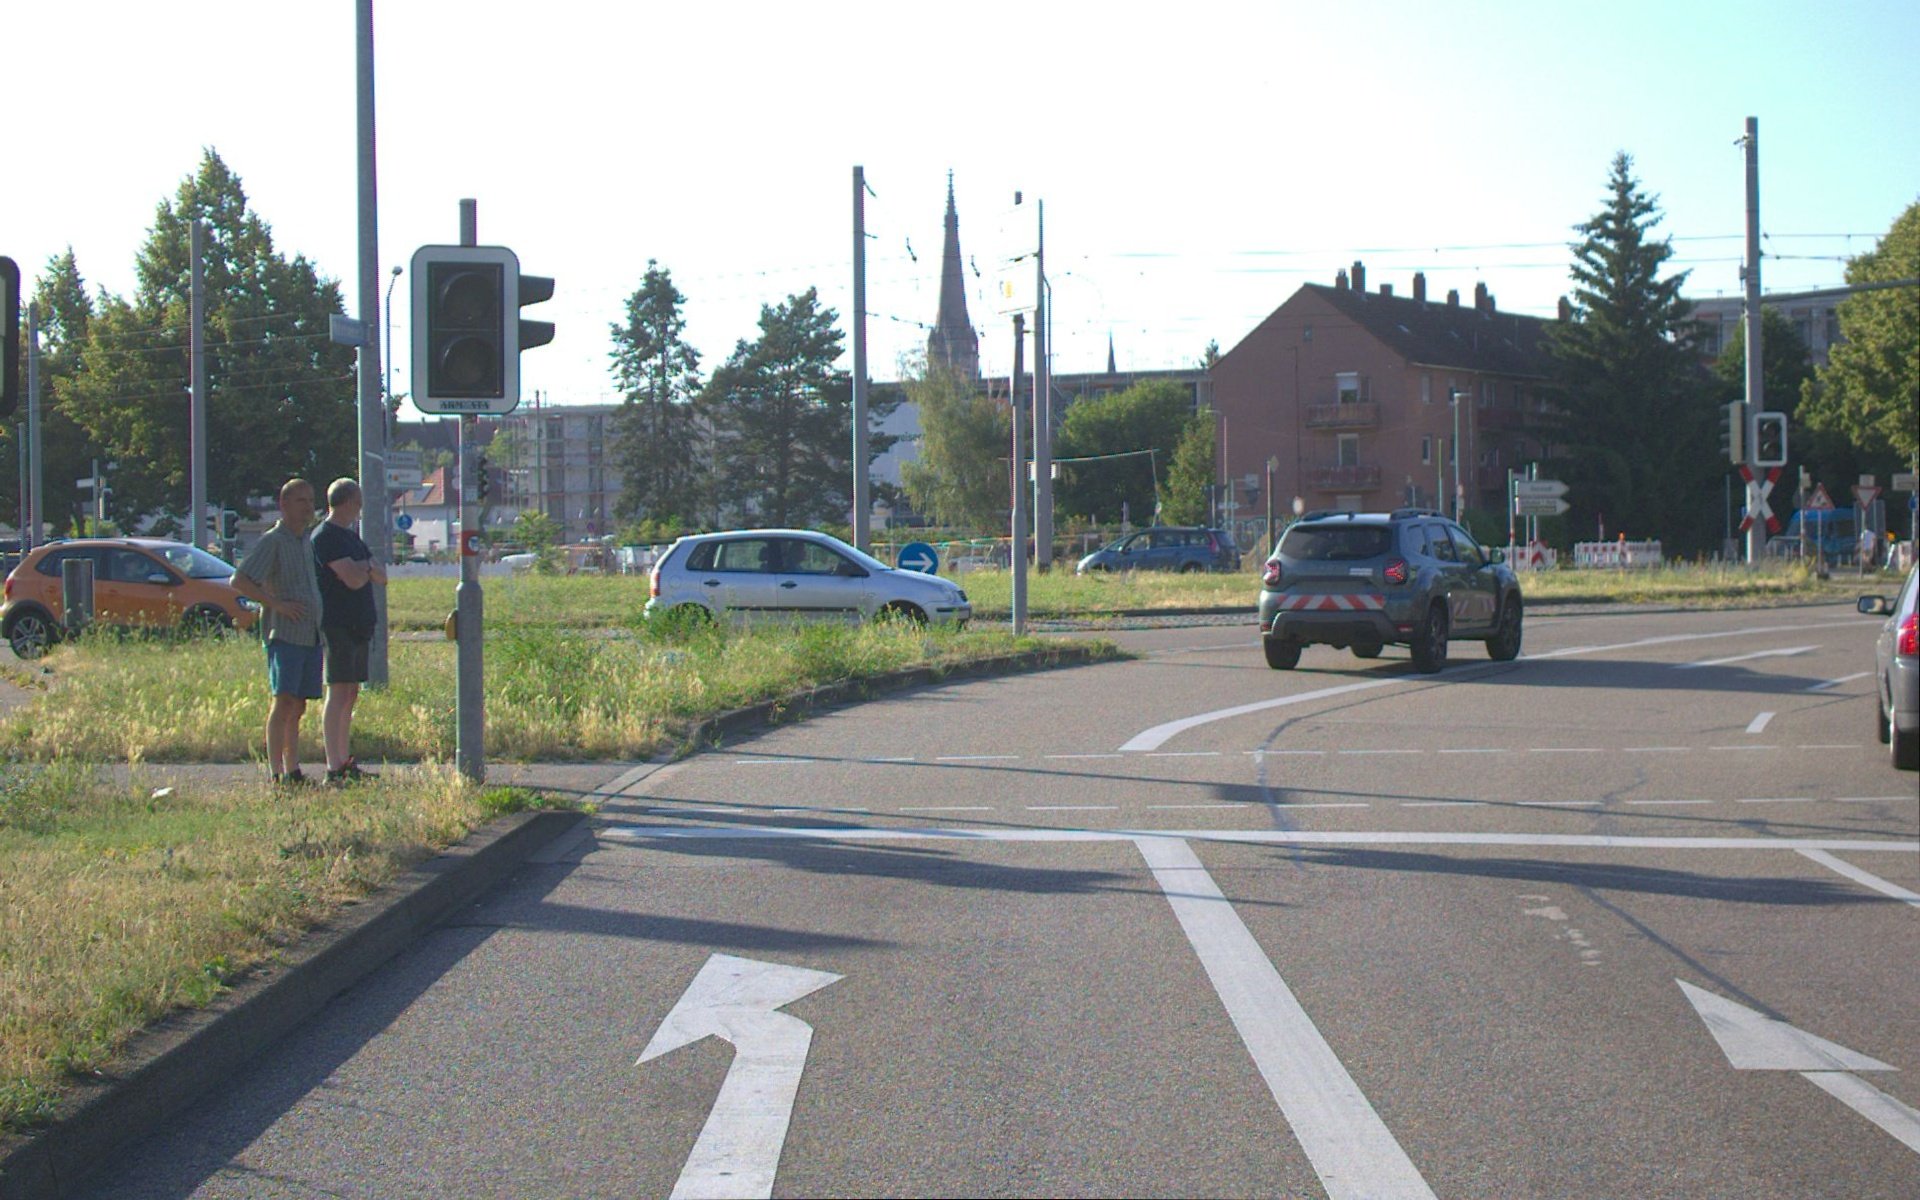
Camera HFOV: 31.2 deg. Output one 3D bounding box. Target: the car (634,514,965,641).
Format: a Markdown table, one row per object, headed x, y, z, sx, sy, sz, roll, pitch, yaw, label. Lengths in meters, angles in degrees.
| x | y | z | sx | sy | sz | roll | pitch | yaw | label |
| --- | --- | --- | --- | --- | --- | --- | --- | --- | --- |
| -1.870 | -0.274 | 40.880 | 3.747 | 1.429 | 1.836 | -1 | 1 | 4 | car |

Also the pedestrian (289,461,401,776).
| x | y | z | sx | sy | sz | roll | pitch | yaw | label |
| --- | --- | --- | --- | --- | --- | --- | --- | --- | --- |
| -3.652 | 0.102 | 20.448 | 0.486 | 1.837 | 0.672 | -1 | 1 | 3 | pedestrian |

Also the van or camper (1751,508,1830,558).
| x | y | z | sx | sy | sz | roll | pitch | yaw | label |
| --- | --- | --- | --- | --- | --- | --- | --- | --- | --- |
| 36.451 | -2.958 | 150.870 | 2.097 | 2.147 | 4.415 | 0 | 1 | 32 | van or camper |

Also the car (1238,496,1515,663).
| x | y | z | sx | sy | sz | roll | pitch | yaw | label |
| --- | --- | --- | --- | --- | --- | --- | --- | --- | --- |
| 4.460 | -0.234 | 36.328 | 1.907 | 1.654 | 3.996 | 0 | 1 | 22 | car |

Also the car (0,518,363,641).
| x | y | z | sx | sy | sz | roll | pitch | yaw | label |
| --- | --- | --- | --- | --- | --- | --- | --- | --- | --- |
| -9.654 | -0.257 | 42.271 | 4.129 | 1.439 | 1.908 | 0 | 1 | 15 | car |

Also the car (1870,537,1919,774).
| x | y | z | sx | sy | sz | roll | pitch | yaw | label |
| --- | --- | --- | --- | --- | --- | --- | --- | --- | --- |
| 7.112 | 0.316 | 23.363 | 1.748 | 1.468 | 3.817 | 0 | 1 | 15 | car |

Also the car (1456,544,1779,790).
| x | y | z | sx | sy | sz | roll | pitch | yaw | label |
| --- | --- | --- | --- | --- | --- | --- | --- | --- | --- |
| 4.668 | 0.413 | 24.902 | 1.602 | 1.604 | 4.000 | 0 | 1 | 1 | car |

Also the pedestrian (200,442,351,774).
| x | y | z | sx | sy | sz | roll | pitch | yaw | label |
| --- | --- | --- | --- | --- | --- | --- | --- | --- | --- |
| -3.871 | 0.048 | 19.465 | 0.486 | 1.837 | 0.719 | -2 | 0 | 21 | pedestrian |
